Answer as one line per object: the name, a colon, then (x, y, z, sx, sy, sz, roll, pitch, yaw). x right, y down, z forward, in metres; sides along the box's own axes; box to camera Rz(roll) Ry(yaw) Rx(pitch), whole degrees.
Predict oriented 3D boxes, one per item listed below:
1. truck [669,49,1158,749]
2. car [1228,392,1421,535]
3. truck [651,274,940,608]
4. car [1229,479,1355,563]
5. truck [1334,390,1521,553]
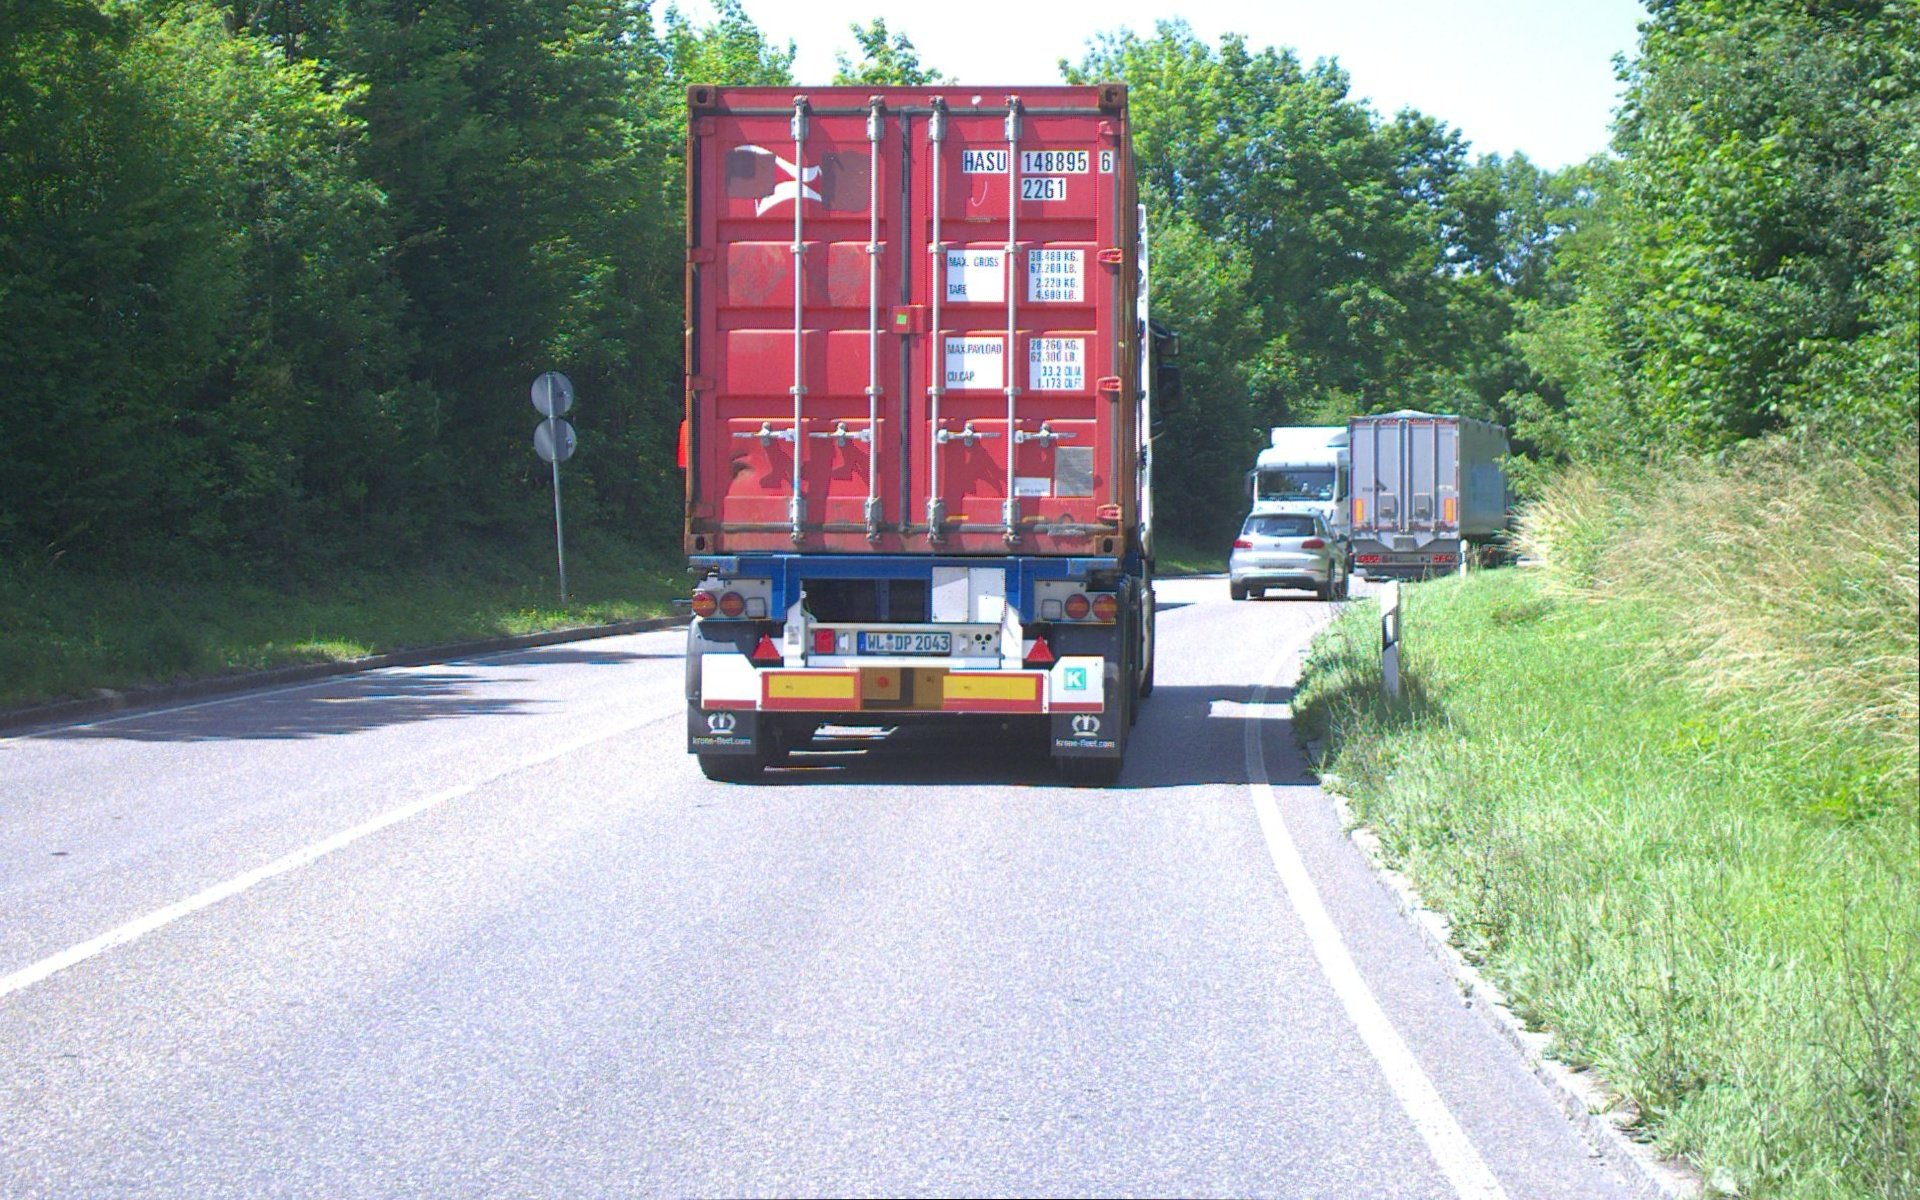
truck: (0.121, -1.255, 25.393, 2.648, 3.793, 13.359, 0, 1, 3)
car: (10.738, -3.934, 99.837, 3.267, 3.860, 12.737, 0, 2, 17)
truck: (-2.086, -2.065, 46.038, 2.922, 4.168, 5.918, 0, 1, 7)
car: (6.128, -1.460, 63.095, 1.833, 1.428, 3.998, -2, 1, 12)
truck: (11.696, -3.129, 84.813, 2.924, 3.704, 13.351, 1, 2, 15)
